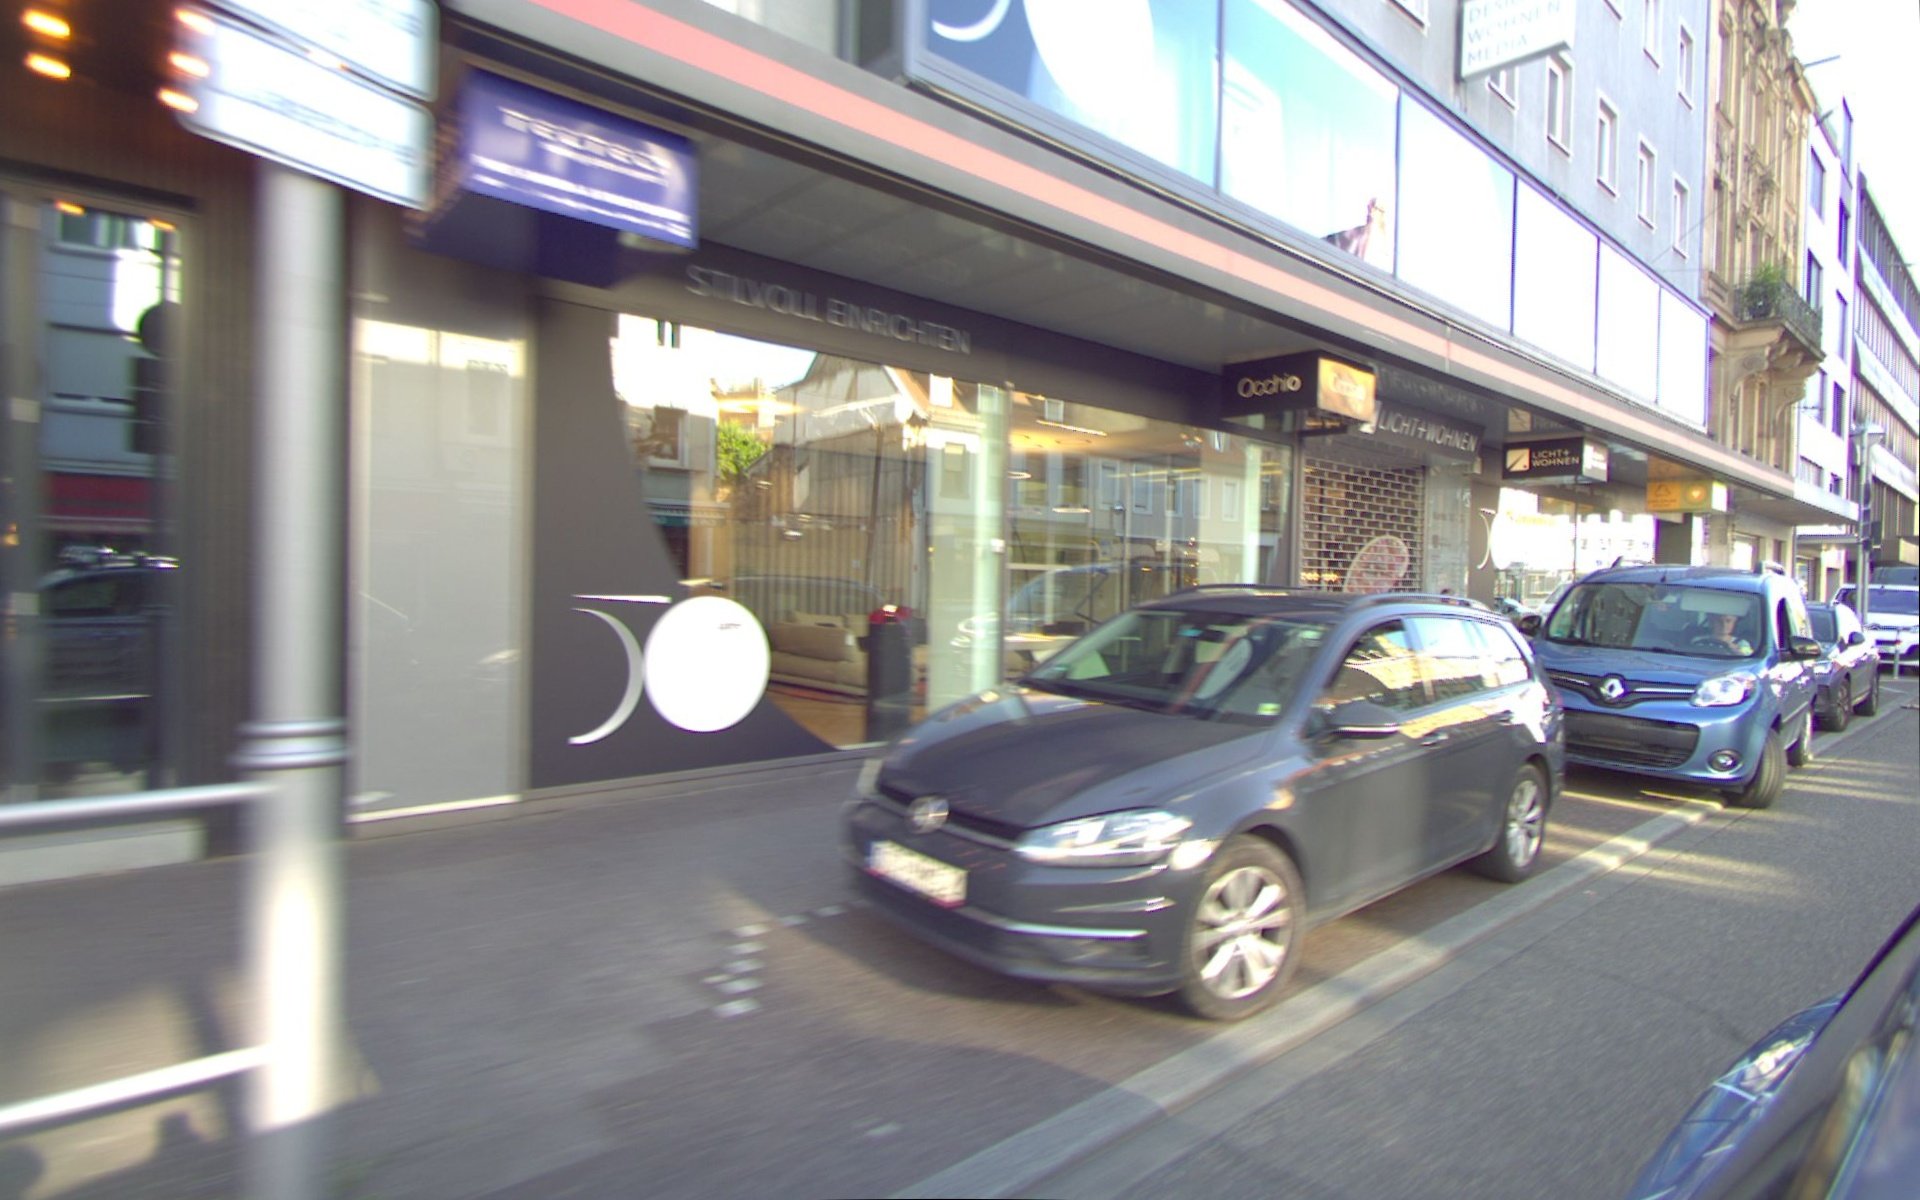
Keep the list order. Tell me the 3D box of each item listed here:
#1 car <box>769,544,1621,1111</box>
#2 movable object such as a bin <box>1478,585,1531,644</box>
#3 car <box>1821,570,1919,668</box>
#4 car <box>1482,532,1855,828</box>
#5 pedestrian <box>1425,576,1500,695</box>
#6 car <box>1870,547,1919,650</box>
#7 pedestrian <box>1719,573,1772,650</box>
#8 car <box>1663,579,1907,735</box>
[{"bbox_3d":[1.439,0.563,4.823,4.340,1.502,1.725,-1,4,-42],"label":"car"},{"bbox_3d":[13.225,0.339,24.575,0.787,1.377,0.880,0,2,-41],"label":"movable object such as a bin"},{"bbox_3d":[20.605,0.350,22.268,4.799,1.933,2.048,-1,3,-44],"label":"car"},{"bbox_3d":[6.249,0.440,8.686,4.477,1.882,1.817,-1,3,-45],"label":"car"},{"bbox_3d":[6.494,0.432,13.081,0.718,1.457,0.576,0,3,-41],"label":"pedestrian"},{"bbox_3d":[25.631,0.025,26.577,5.588,2.533,2.048,2,-1,-42],"label":"car"},{"bbox_3d":[16.172,0.229,20.834,0.800,1.527,0.696,0,2,-41],"label":"pedestrian"},{"bbox_3d":[10.639,0.573,12.940,4.215,1.596,1.767,-1,4,-42],"label":"car"}]
